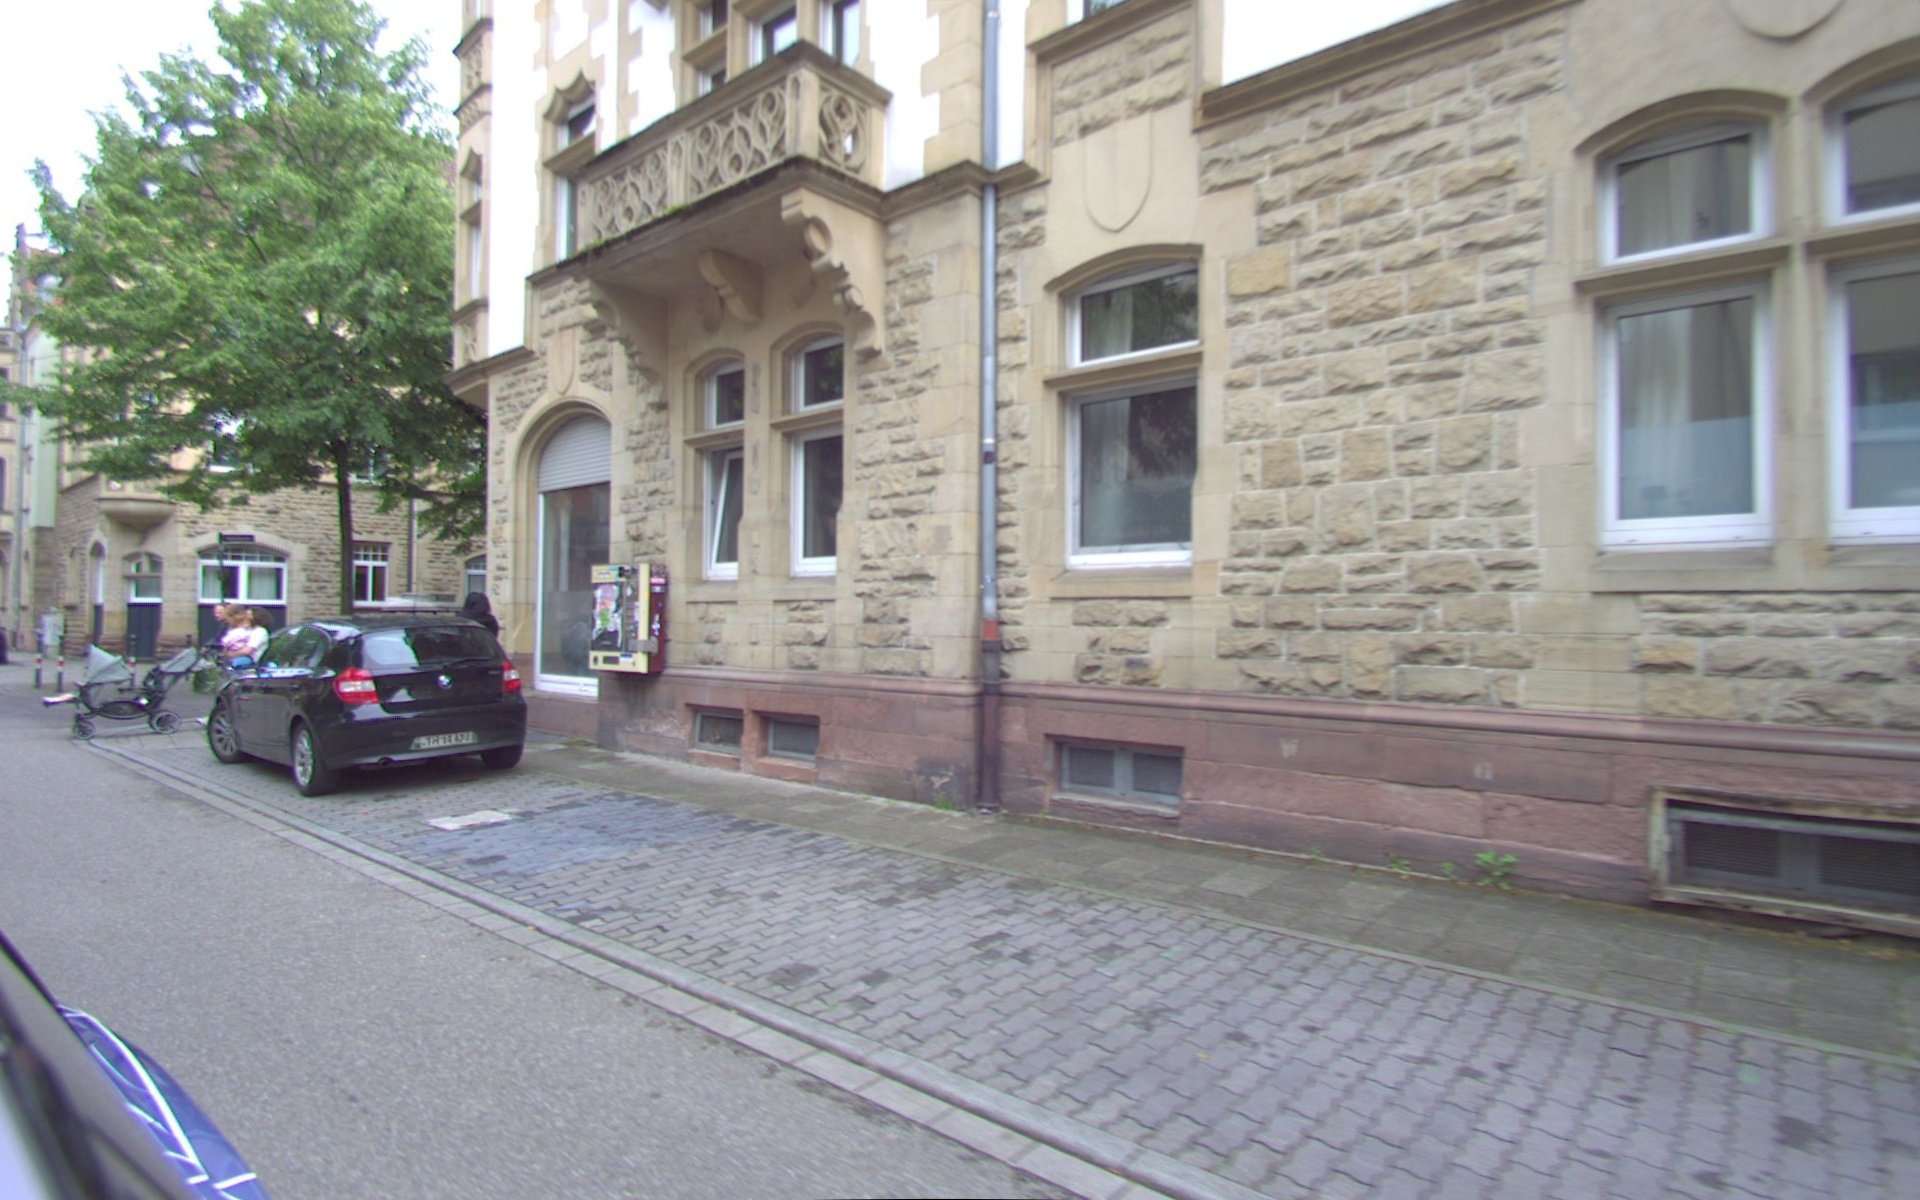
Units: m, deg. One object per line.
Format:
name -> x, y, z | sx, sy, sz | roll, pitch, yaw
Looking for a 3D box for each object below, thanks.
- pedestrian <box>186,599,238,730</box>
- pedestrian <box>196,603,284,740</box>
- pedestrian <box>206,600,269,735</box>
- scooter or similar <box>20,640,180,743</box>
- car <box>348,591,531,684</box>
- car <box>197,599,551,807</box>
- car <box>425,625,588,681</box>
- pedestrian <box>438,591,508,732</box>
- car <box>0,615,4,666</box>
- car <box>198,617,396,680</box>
pedestrian -> -9.749, 0.824, 13.185 | 0.521, 1.656, 0.529 | 0, -1, -39
pedestrian -> -8.680, 0.844, 12.225 | 0.621, 1.606, 0.671 | 0, -1, -8
pedestrian -> -9.162, 0.832, 12.832 | 0.608, 1.656, 0.605 | 1, -2, -38
scooter or similar -> -10.507, 1.088, 12.427 | 1.450, 1.112, 0.677 | -1, 0, -38
car -> -12.007, 0.838, 23.325 | 3.943, 1.983, 1.816 | 0, -2, 28
car -> -5.523, 0.769, 9.323 | 3.999, 1.506, 1.691 | -1, -1, 42
car -> -13.840, 1.568, 31.001 | 4.220, 1.477, 1.665 | 2, 2, -43
pedestrian -> -5.490, 0.682, 11.412 | 0.546, 1.530, 0.510 | -1, -2, 41
car -> -29.364, 1.194, 29.668 | 3.881, 1.445, 1.709 | -2, -1, 43
car -> -17.819, 1.291, 27.335 | 4.220, 1.477, 1.665 | 2, 1, -43
